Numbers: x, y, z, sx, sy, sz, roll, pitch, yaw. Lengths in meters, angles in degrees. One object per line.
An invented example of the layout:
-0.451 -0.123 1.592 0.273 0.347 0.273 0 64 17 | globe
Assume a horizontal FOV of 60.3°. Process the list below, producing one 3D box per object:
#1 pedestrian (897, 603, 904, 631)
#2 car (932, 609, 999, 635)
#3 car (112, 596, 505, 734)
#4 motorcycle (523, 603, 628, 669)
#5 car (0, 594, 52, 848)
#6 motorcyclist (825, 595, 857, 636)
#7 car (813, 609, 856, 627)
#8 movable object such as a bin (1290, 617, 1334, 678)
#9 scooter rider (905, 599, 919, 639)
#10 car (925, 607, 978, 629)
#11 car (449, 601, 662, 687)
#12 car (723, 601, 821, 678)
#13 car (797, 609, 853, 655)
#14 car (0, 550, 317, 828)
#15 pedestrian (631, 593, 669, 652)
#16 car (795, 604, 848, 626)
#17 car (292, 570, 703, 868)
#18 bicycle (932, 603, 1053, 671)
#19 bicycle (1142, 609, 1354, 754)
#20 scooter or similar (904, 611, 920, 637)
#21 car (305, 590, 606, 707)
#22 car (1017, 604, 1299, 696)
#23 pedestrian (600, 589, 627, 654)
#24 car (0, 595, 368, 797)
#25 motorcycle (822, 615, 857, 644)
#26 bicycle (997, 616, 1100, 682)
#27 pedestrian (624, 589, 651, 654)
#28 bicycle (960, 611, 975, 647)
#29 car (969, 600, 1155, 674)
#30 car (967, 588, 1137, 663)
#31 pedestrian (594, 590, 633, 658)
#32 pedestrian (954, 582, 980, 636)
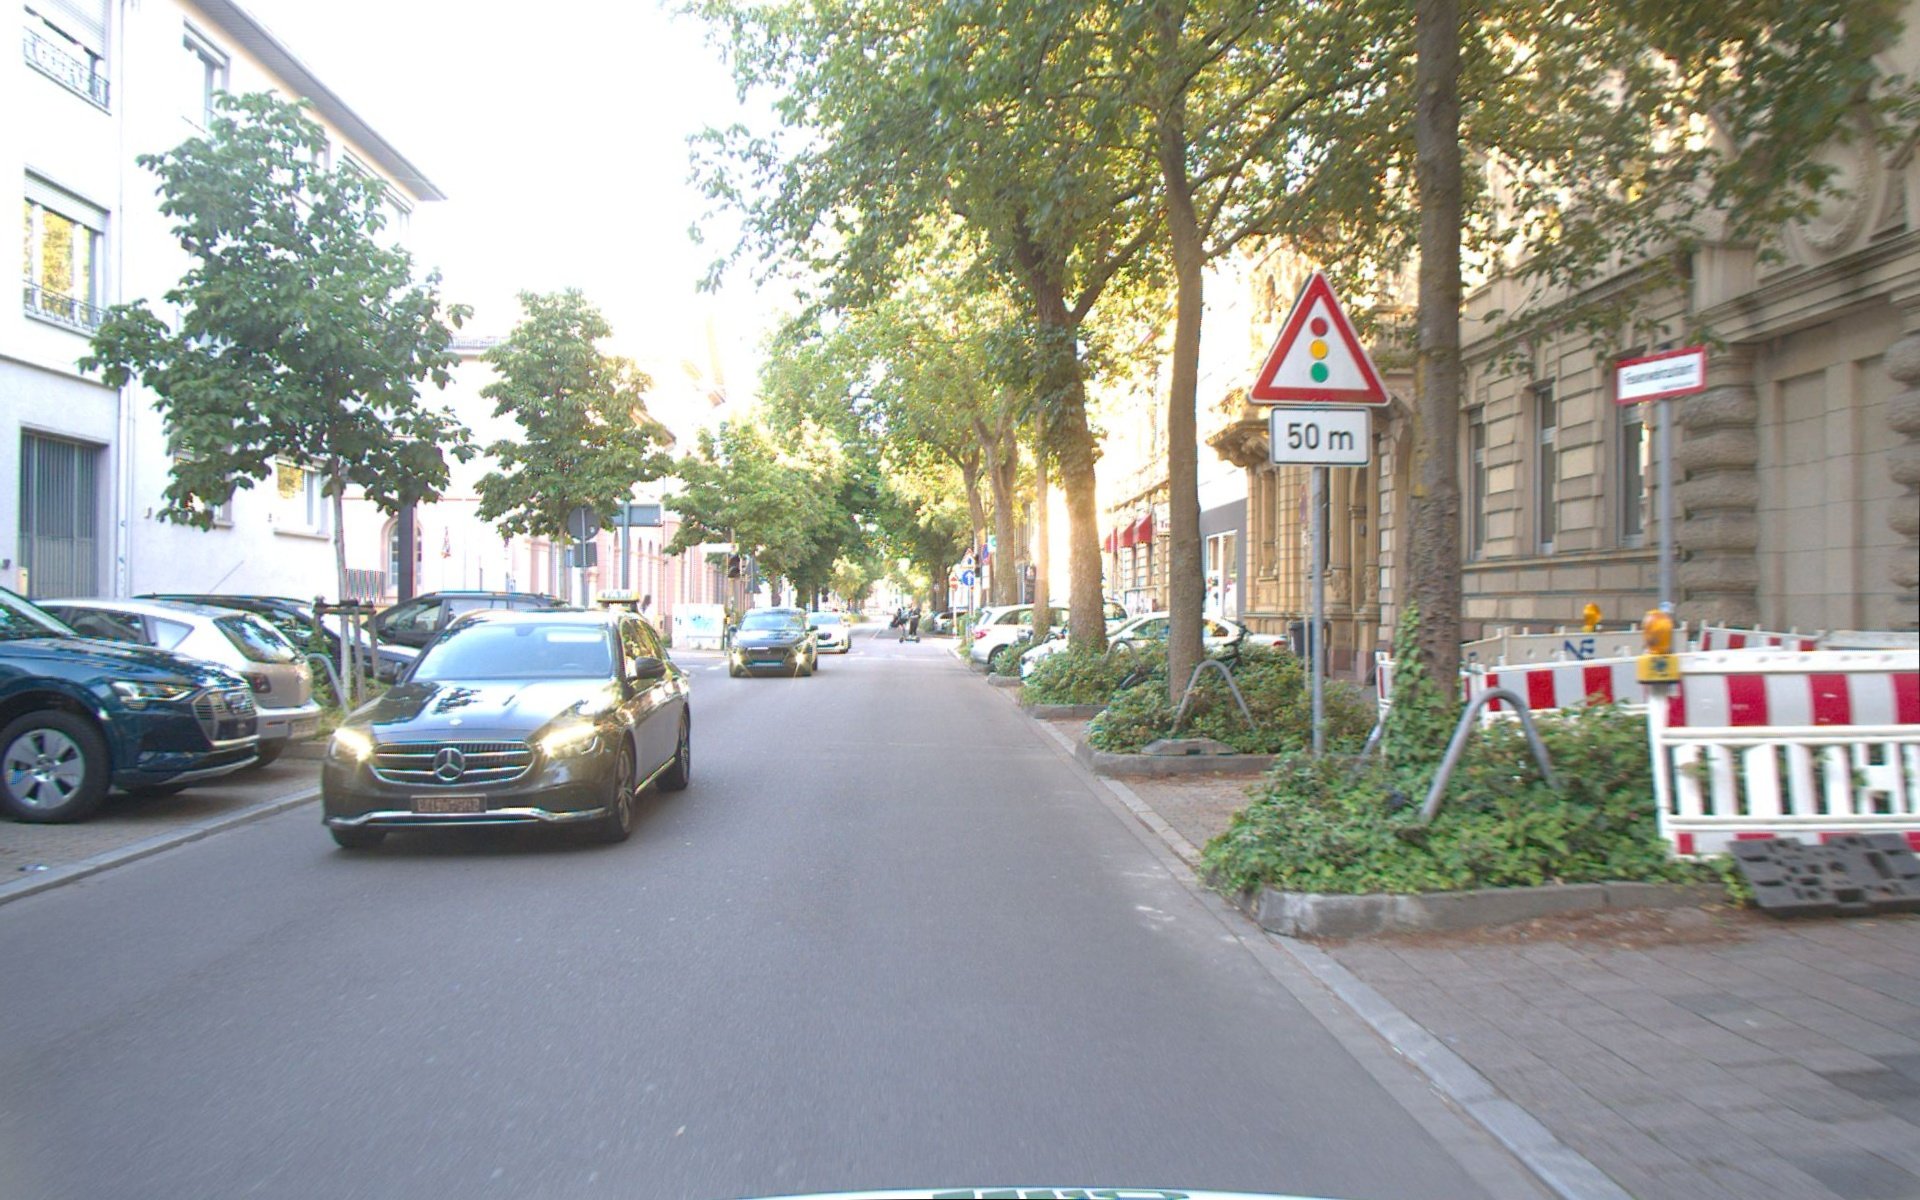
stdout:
-4.451 1.277 123.557 0.492 2.049 0.620 1 -1 -1 | pedestrian
0.319 1.364 104.123 4.108 1.506 1.851 -2 0 -3 | car
-7.746 0.753 19.954 3.992 1.465 1.754 2 0 -1 | car
-8.590 0.800 36.967 2.103 1.444 0.968 -1 -1 19 | motorcycle
-7.469 0.682 9.197 3.768 1.476 1.854 1 1 -2 | car
-4.709 0.620 65.559 1.254 1.620 1.077 0 -1 -2 | motorcyclist
-14.677 2.116 193.749 4.961 2.119 2.262 -1 0 -1 | car
6.445 0.866 30.295 0.644 1.083 0.614 -1 -1 -2 | movable object such as a bin
-2.182 0.865 75.468 0.484 1.823 0.875 0 -1 7 | scooter rider
-0.653 1.341 125.070 3.935 1.651 1.779 -1 0 -4 | car
-7.706 0.821 31.762 3.667 1.484 1.734 2 0 -3 | car
-4.106 0.831 36.680 1.839 1.576 4.273 -1 0 -2 | car
-4.785 1.117 59.055 1.839 1.576 4.272 -1 0 -3 | car
-7.331 0.558 11.842 4.572 1.796 2.155 1 0 -3 | car
-9.400 0.689 50.171 0.764 1.769 0.839 0 -2 45 | pedestrian
-13.175 1.417 157.480 4.963 2.119 2.262 0 0 -3 | car
-2.998 0.689 11.782 1.839 1.669 4.643 -1 0 -3 | car
0.823 0.955 42.729 3.053 1.692 0.657 1 -1 -7 | bicycle
2.871 0.811 16.552 2.006 1.384 0.508 1 0 -4 | bicycle
-2.186 1.085 75.486 0.491 1.165 1.251 0 -1 8 | scooter or similar
-7.660 0.725 25.411 4.010 1.660 1.935 1 0 -1 | car
3.238 0.812 27.741 4.490 1.462 1.925 0 0 -1 | car
-10.118 0.617 48.258 0.542 1.883 0.612 0 -1 13 | pedestrian
-7.427 0.761 14.246 3.945 1.520 1.780 2 0 1 | car
-4.743 1.169 65.446 1.285 1.109 2.395 1 0 -2 | motorcycle
1.771 0.973 33.227 1.986 1.225 0.486 -2 0 -15 | bicycle
-9.389 0.624 48.135 0.542 1.883 0.612 0 -1 12 | pedestrian
0.318 1.163 66.580 0.408 1.396 1.289 -1 0 9 | bicycle
2.306 0.836 37.985 4.137 1.587 1.971 -1 0 1 | car
2.502 0.694 45.610 4.451 1.948 1.948 -1 0 -5 | car
-9.638 0.666 46.004 0.761 1.822 0.784 2 0 -32 | pedestrian
0.283 0.377 67.547 1.022 2.184 1.063 1 -1 -2 | pedestrian
